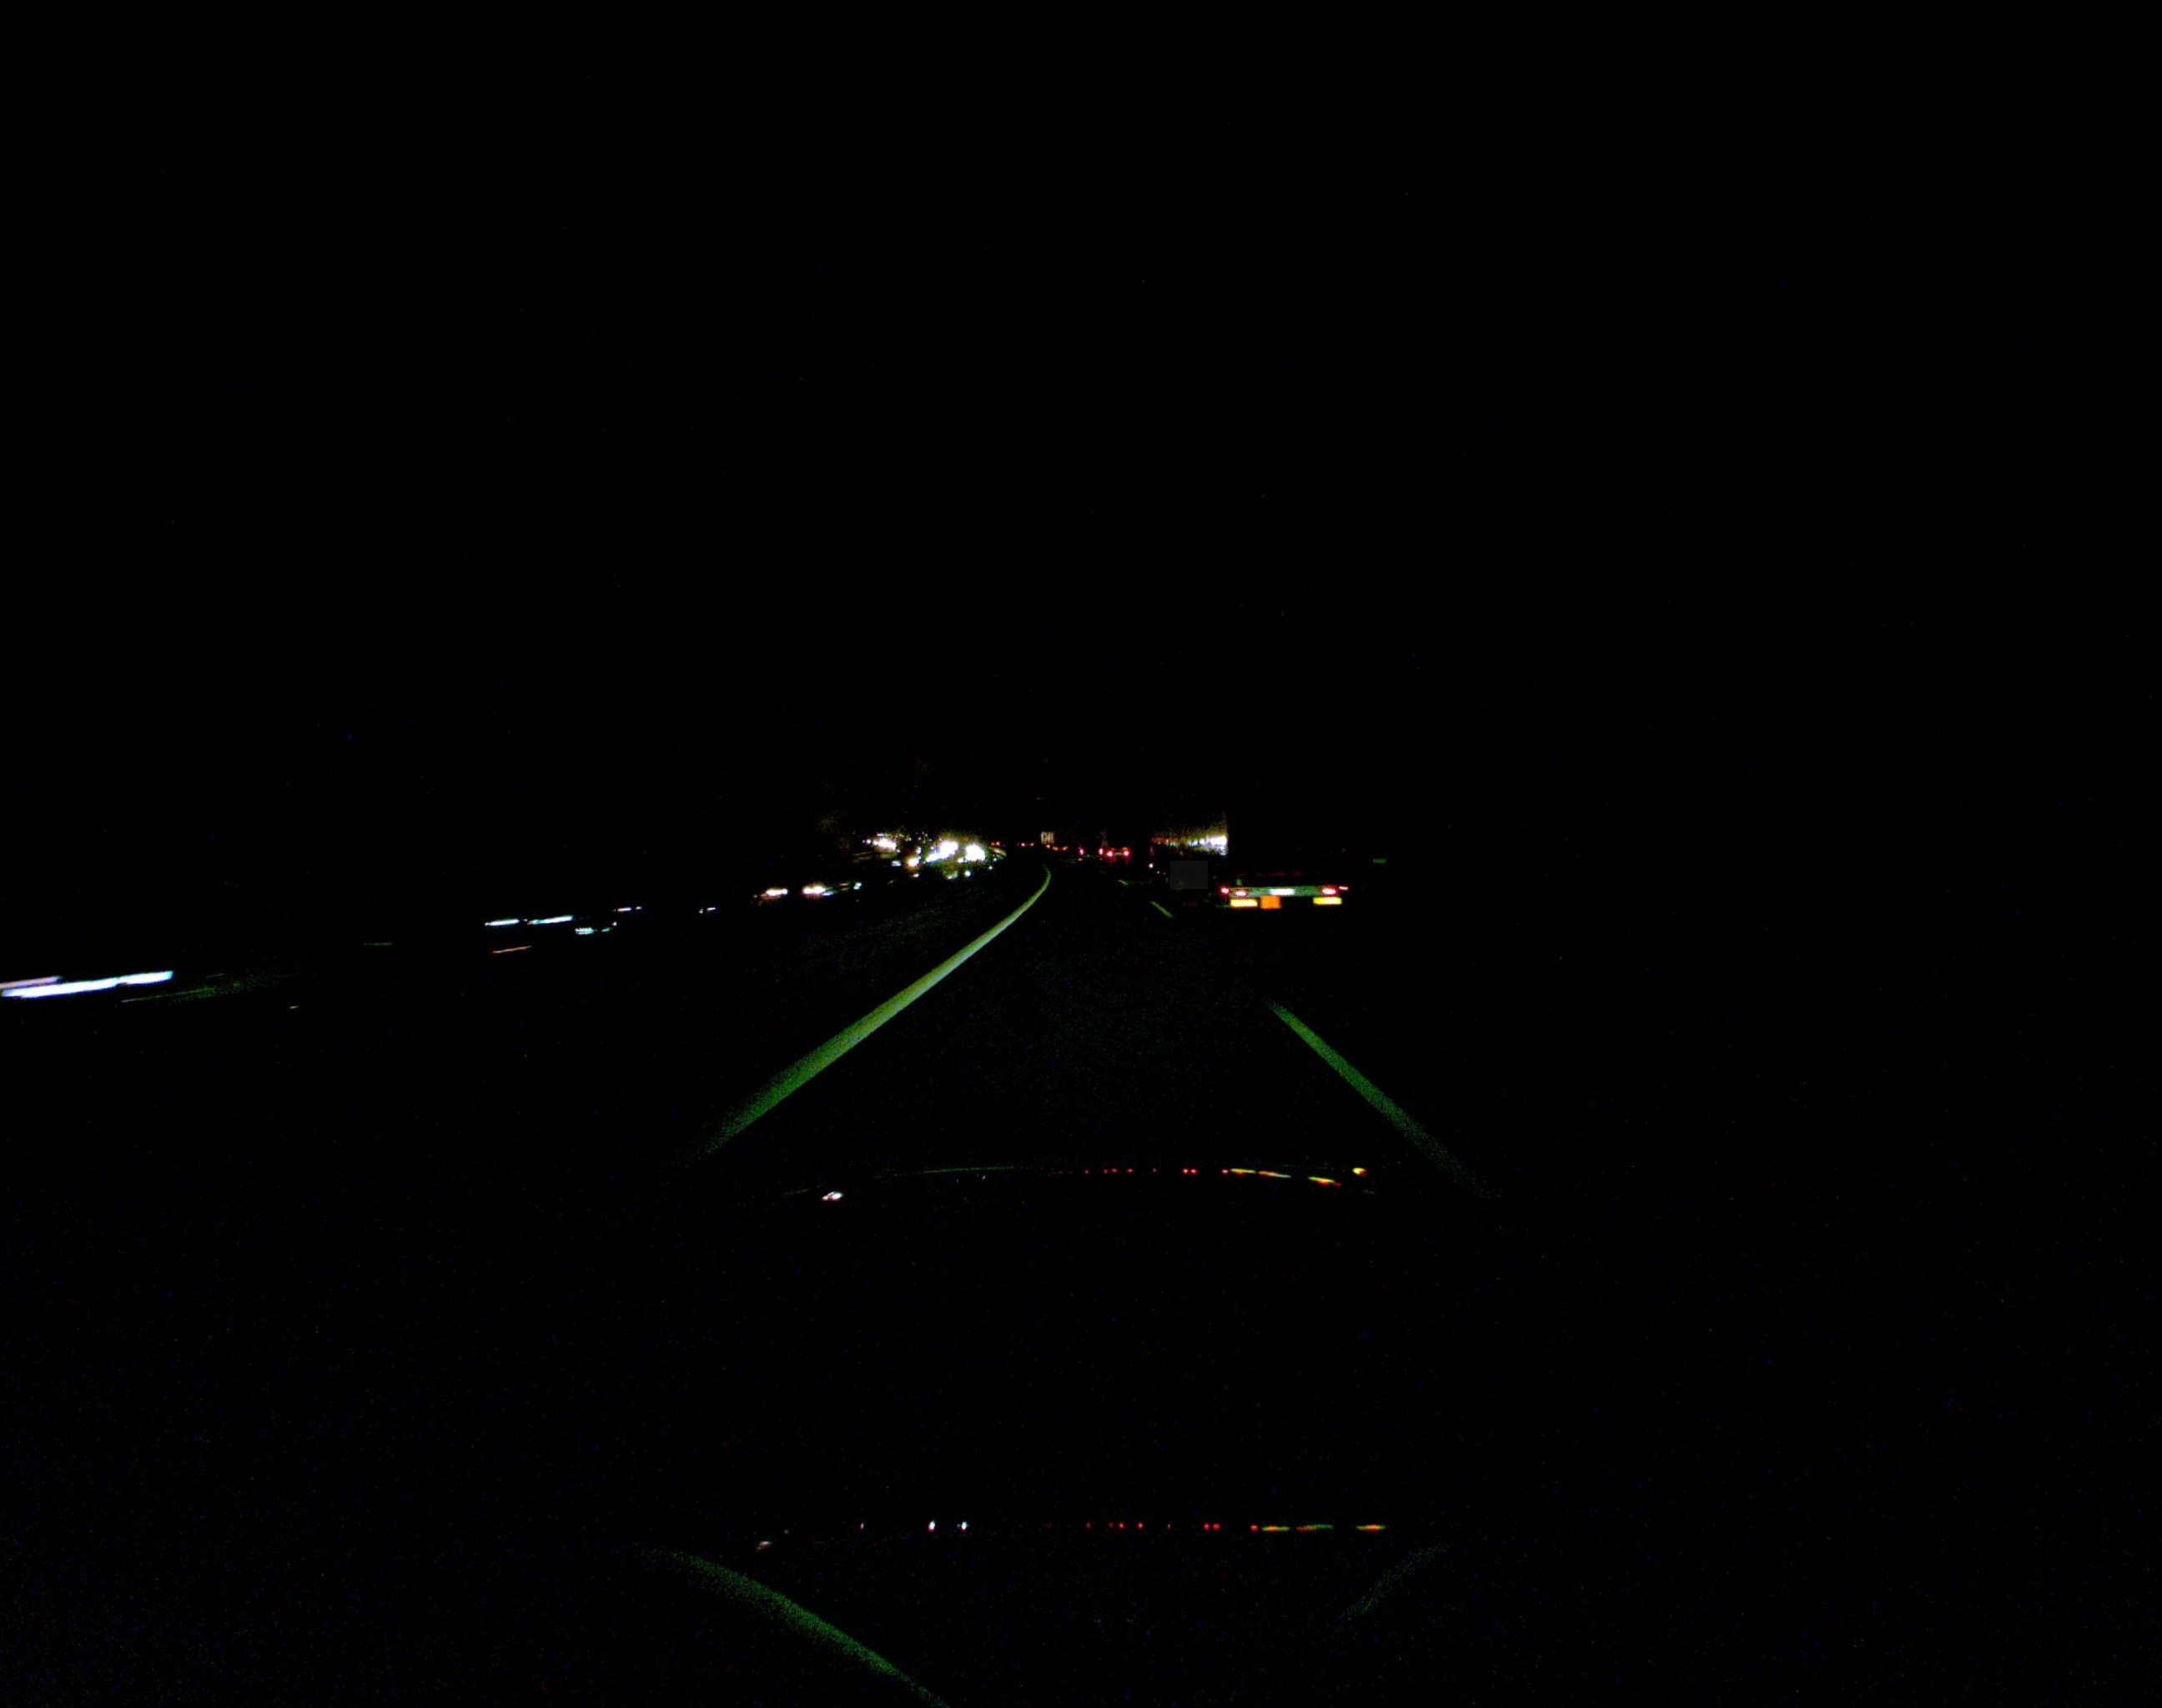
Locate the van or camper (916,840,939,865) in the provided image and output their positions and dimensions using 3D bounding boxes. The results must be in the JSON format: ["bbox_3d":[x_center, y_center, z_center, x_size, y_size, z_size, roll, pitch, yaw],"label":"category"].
[{"bbox_3d":[-19.590,-0.262,104.453,2.219,3.003,7.109,-2,1,-6],"label":"van or camper"}]

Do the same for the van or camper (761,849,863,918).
[{"bbox_3d":[-11.414,1.126,35.196,2.249,2.594,6.682,-3,0,-2],"label":"van or camper"}]

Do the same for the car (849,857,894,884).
[{"bbox_3d":[-12.285,0.942,47.967,1.744,1.452,3.837,-3,0,-2],"label":"car"}]

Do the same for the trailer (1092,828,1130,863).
[{"bbox_3d":[3.670,-1.236,102.982,2.851,4.066,13.177,-2,2,-6],"label":"trailer"}]

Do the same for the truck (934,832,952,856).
[{"bbox_3d":[-24.596,-1.828,144.819,2.867,4.210,6.081,-2,1,-12],"label":"truck"}]

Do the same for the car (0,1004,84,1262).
[{"bbox_3d":[-7.797,1.820,3.453,1.987,1.537,4.145,-2,0,0],"label":"car"}]

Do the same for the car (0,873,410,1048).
[{"bbox_3d":[-15.207,1.621,14.567,1.828,2.370,5.446,-2,0,0],"label":"car"}]

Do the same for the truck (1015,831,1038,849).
[{"bbox_3d":[-14.075,-3.655,207.886,3.349,4.475,13.842,1,1,-14],"label":"truck"}]

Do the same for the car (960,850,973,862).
[{"bbox_3d":[-15.856,0.242,113.199,1.639,1.539,3.992,-2,1,-6],"label":"car"}]

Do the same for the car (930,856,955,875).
[{"bbox_3d":[-13.362,1.129,78.944,1.991,1.660,4.445,-2,1,-5],"label":"car"}]

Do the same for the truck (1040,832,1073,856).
[{"bbox_3d":[-5.362,-2.118,168.522,3.915,4.626,20.949,-2,1,-10],"label":"truck"}]

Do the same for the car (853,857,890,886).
[{"bbox_3d":[-15.616,1.296,60.906,1.992,1.959,4.974,-3,0,-7],"label":"car"}]

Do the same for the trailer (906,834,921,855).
[{"bbox_3d":[-36.531,-2.090,177.414,2.842,4.171,13.229,-4,2,-12],"label":"trailer"}]

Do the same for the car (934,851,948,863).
[{"bbox_3d":[-21.426,0.506,124.770,1.887,1.676,5.060,-2,1,-11],"label":"car"}]

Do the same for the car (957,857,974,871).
[{"bbox_3d":[-13.640,1.161,96.018,1.638,1.483,4.356,-2,1,-5],"label":"car"}]

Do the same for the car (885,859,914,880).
[{"bbox_3d":[-16.850,1.421,75.637,1.857,1.700,4.388,-3,0,-3],"label":"car"}]

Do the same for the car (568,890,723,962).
[{"bbox_3d":[-11.717,1.883,22.319,1.813,1.515,4.504,-2,0,0],"label":"car"}]

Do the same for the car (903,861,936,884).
[{"bbox_3d":[-12.172,1.372,61.451,1.601,1.479,4.074,-3,0,0],"label":"car"}]

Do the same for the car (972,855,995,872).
[{"bbox_3d":[-8.362,0.803,69.942,1.751,1.354,4.284,-2,1,-5],"label":"car"}]

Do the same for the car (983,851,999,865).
[{"bbox_3d":[-10.547,0.490,95.322,1.678,1.566,3.992,-4,-1,-5],"label":"car"}]

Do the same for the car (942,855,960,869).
[{"bbox_3d":[-13.439,0.822,84.047,1.531,1.335,4.212,-2,1,-6],"label":"car"}]

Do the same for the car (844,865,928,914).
[{"bbox_3d":[-6.669,1.172,28.353,1.828,1.451,4.504,-2,0,0],"label":"car"}]

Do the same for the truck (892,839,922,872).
[{"bbox_3d":[-18.444,0.133,86.710,2.374,3.260,7.702,-3,0,-8],"label":"truck"}]

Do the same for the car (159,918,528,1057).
[{"bbox_3d":[-11.381,1.954,13.128,1.813,1.451,4.504,-2,0,0],"label":"car"}]

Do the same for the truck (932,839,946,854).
[{"bbox_3d":[-24.914,-1.302,142.797,1.995,2.458,5.029,-2,1,-13],"label":"truck"}]

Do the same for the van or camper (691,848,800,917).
[{"bbox_3d":[-15.067,1.193,37.117,2.439,2.761,6.482,-2,0,-3],"label":"van or camper"}]

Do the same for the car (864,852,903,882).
[{"bbox_3d":[-16.067,1.018,66.406,2.126,2.267,4.559,-3,1,-3],"label":"car"}]

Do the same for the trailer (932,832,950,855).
[{"bbox_3d":[-26.490,-2.057,153.735,2.877,4.183,14.468,-2,2,-11],"label":"trailer"}]

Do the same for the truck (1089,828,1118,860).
[{"bbox_3d":[2.963,-1.432,109.203,2.859,4.076,7.495,-2,2,-6],"label":"truck"}]

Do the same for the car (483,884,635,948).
[{"bbox_3d":[-16.132,1.860,25.513,1.828,1.609,4.504,-2,0,0],"label":"car"}]

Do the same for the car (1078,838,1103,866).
[{"bbox_3d":[0.860,-0.155,77.911,2.330,2.640,5.245,0,0,-1],"label":"car"}]

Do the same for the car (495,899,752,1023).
[{"bbox_3d":[-7.445,1.653,13.889,1.813,1.451,4.504,-2,0,0],"label":"car"}]

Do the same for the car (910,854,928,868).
[{"bbox_3d":[-18.921,0.776,95.237,1.639,1.539,4.428,-2,1,-7],"label":"car"}]

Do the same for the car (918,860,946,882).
[{"bbox_3d":[-12.969,1.455,71.174,1.733,1.743,3.998,-3,0,-1],"label":"car"}]

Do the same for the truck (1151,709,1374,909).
[{"bbox_3d":[4.554,-0.882,26.202,3.469,4.135,18.713,0,0,1],"label":"truck"}]

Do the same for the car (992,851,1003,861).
[{"bbox_3d":[-11.555,0.315,113.168,1.417,1.256,3.122,-2,1,-7],"label":"car"}]
